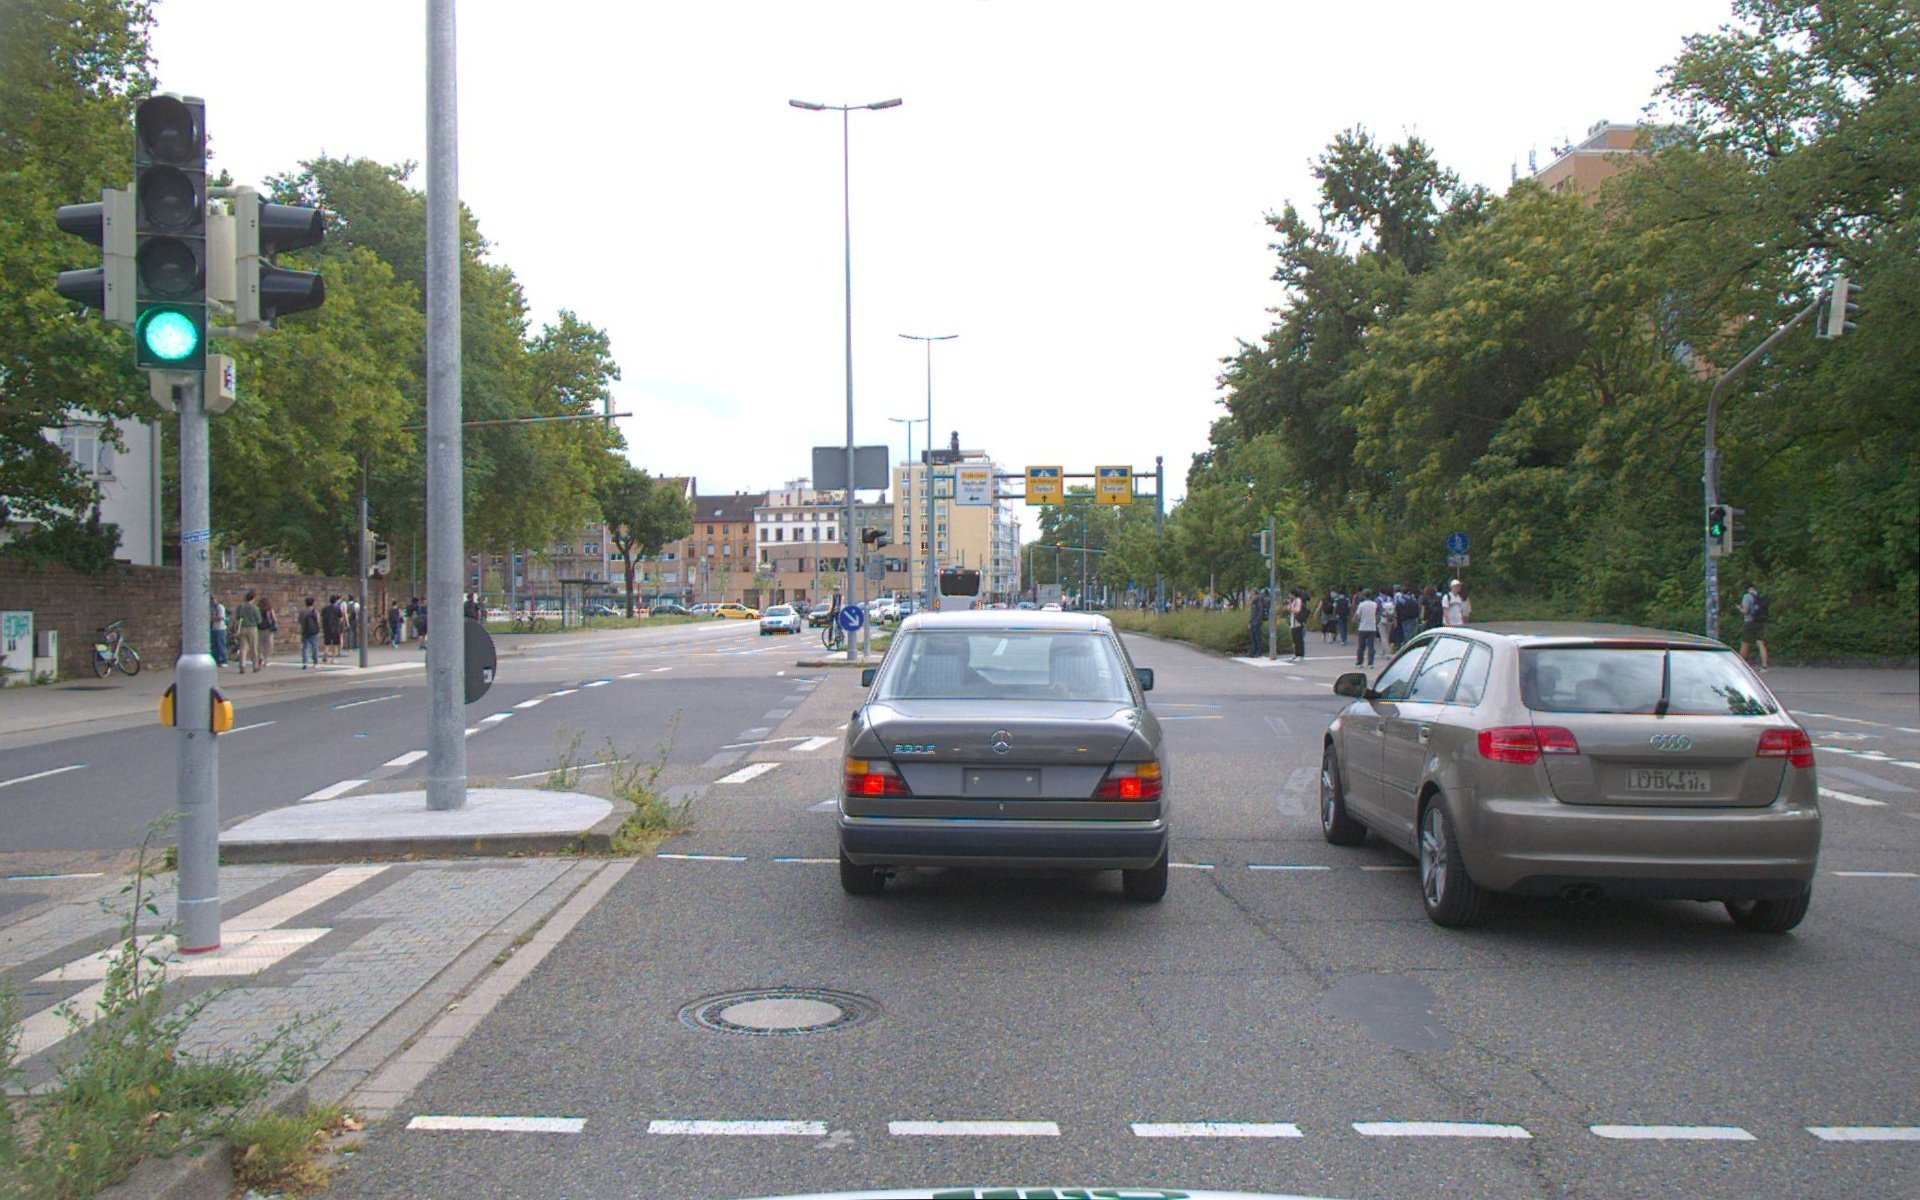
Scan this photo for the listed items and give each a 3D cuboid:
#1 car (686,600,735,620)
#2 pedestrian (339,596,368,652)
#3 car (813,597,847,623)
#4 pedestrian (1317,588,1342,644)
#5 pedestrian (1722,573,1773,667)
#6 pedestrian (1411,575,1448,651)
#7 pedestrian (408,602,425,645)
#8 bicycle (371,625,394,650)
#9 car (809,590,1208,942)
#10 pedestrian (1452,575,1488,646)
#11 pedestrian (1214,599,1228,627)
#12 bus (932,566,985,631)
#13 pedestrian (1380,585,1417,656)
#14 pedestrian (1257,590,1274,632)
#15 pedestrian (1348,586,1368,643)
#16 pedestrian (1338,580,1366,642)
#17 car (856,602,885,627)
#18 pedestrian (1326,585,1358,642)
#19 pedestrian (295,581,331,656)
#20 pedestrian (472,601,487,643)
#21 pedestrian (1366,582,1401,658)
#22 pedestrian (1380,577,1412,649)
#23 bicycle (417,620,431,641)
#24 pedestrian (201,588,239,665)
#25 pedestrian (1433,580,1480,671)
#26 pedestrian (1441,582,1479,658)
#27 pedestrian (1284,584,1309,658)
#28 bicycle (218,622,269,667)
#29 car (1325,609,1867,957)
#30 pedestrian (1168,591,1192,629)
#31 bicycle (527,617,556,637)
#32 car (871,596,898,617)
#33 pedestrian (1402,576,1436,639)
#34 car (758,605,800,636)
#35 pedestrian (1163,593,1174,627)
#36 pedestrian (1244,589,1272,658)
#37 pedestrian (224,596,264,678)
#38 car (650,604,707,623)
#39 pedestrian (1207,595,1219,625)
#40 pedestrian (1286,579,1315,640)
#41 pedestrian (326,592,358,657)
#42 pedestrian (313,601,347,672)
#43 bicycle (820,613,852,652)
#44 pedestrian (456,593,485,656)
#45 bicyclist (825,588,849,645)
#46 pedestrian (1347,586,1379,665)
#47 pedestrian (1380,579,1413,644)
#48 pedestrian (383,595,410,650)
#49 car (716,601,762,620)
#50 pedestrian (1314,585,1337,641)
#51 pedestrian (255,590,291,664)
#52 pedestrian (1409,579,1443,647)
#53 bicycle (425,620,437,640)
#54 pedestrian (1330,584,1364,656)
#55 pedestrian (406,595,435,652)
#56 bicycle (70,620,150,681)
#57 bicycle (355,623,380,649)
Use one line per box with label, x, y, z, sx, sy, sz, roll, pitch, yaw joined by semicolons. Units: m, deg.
car;-21.894;0.886;145.113;4.072;1.678;1.645;-1;0;-4
pedestrian;-18.655;0.724;50.881;0.750;1.700;0.916;0;0;-27
car;-8.351;0.632;106.565;1.858;1.644;4.744;-1;0;0
pedestrian;11.686;0.498;52.280;0.606;1.766;0.815;-1;0;2
pedestrian;15.505;0.395;32.568;0.631;1.827;0.740;-1;0;-1
pedestrian;11.195;0.309;39.451;0.643;1.776;0.780;-1;0;0
pedestrian;-20.967;0.910;63.772;0.577;1.620;0.731;0;-2;-21
bicycle;-20.208;1.307;57.886;0.432;0.811;1.618;2;1;-7
car;0.258;0.726;9.304;1.725;1.515;4.172;-1;0;1
pedestrian;12.962;0.257;42.036;0.643;1.776;0.780;-1;0;0
pedestrian;14.409;0.718;91.408;0.644;1.496;0.561;-1;0;-1
bus;-0.059;-0.084;91.761;2.773;3.450;8.182;-1;0;0
pedestrian;11.432;0.539;43.138;0.643;1.797;0.957;-3;0;0
pedestrian;12.800;0.457;69.324;0.575;1.712;0.748;-1;0;2
pedestrian;12.625;0.456;52.486;0.474;1.794;0.664;-1;0;2
pedestrian;11.830;0.332;49.922;0.642;1.853;0.812;-1;0;2
car;-5.639;0.894;103.503;1.766;1.515;4.285;-1;0;-4
pedestrian;11.227;0.389;48.608;0.759;1.630;0.812;-1;0;2
pedestrian;-15.805;0.466;40.403;0.750;1.814;0.776;0;-2;-28
pedestrian;-19.449;0.902;66.916;0.550;1.697;0.624;0;-2;-15
pedestrian;10.095;0.466;39.467;0.611;1.776;0.780;-1;0;0
pedestrian;10.959;0.322;41.569;0.569;1.776;0.789;-1;0;0
bicycle;-22.062;1.235;68.094;0.433;0.842;1.614;2;-1;-15
pedestrian;-17.696;0.637;39.544;0.737;1.814;0.775;1;-2;-33
pedestrian;10.443;0.534;34.807;0.633;1.885;0.827;1;-1;-12
pedestrian;11.892;0.470;39.331;0.643;1.776;0.780;-1;0;0
pedestrian;8.191;0.506;40.257;0.445;1.765;0.637;-1;0;0
bicycle;-18.166;1.110;41.953;0.538;1.077;1.979;2;0;-5
car;3.170;0.808;9.058;1.688;1.483;3.737;-1;0;3
pedestrian;10.953;0.490;82.356;0.916;1.862;0.885;-1;0;29
bicycle;-19.913;1.275;78.770;0.460;0.935;2.341;-1;0;9
car;-5.684;0.501;124.867;1.764;1.538;4.104;-1;0;1
pedestrian;12.633;0.209;45.580;0.643;1.696;0.971;-1;0;0
car;-9.242;1.035;84.780;1.725;1.515;4.545;-1;0;-1
pedestrian;12.820;0.605;101.878;0.601;2.049;0.597;0;0;0
pedestrian;7.741;0.611;42.933;0.589;1.765;0.654;-1;0;-1
pedestrian;-16.136;0.840;37.263;0.737;1.814;0.775;0;-2;-31
car;-23.945;1.163;140.795;4.576;1.501;1.659;1;0;-3
pedestrian;14.527;0.562;94.974;0.633;1.743;0.562;-1;0;17
pedestrian;10.552;0.296;51.284;0.678;1.853;0.954;-1;0;2
pedestrian;-17.488;0.701;46.777;0.750;1.814;0.906;0;-2;-27
pedestrian;-16.342;0.939;42.884;0.750;1.814;0.777;0;-2;-27
bicycle;-3.502;0.905;46.732;0.561;1.074;1.927;-1;0;6
pedestrian;-14.188;0.719;47.975;0.748;1.814;0.717;0;-2;-22
bicyclist;-3.495;0.474;46.931;0.560;1.601;0.700;-1;0;6
pedestrian;8.810;0.550;36.176;0.534;1.716;0.637;-1;0;-1
pedestrian;11.773;0.311;44.590;0.643;1.719;0.842;-1;0;0
pedestrian;-18.821;0.766;55.236;0.750;1.814;0.777;0;-2;-27
car;-18.842;0.882;141.224;3.780;1.544;1.659;1;0;-3
pedestrian;11.228;0.393;50.798;0.544;1.684;0.753;-1;0;2
pedestrian;-16.942;0.669;40.787;0.751;1.814;0.776;0;-2;-30
pedestrian;12.138;0.334;43.104;0.643;1.729;0.780;-1;0;0
bicycle;-23.652;1.344;73.946;0.409;0.893;1.549;2;-1;-15
pedestrian;9.665;0.489;41.334;0.643;1.776;0.780;-1;0;0
pedestrian;-17.343;0.748;53.155;0.750;1.814;0.916;0;-2;-27
bicycle;-17.282;1.013;33.680;0.566;1.145;2.164;2;0;-3
bicycle;-19.927;1.200;55.640;0.432;0.811;1.618;2;1;-7
